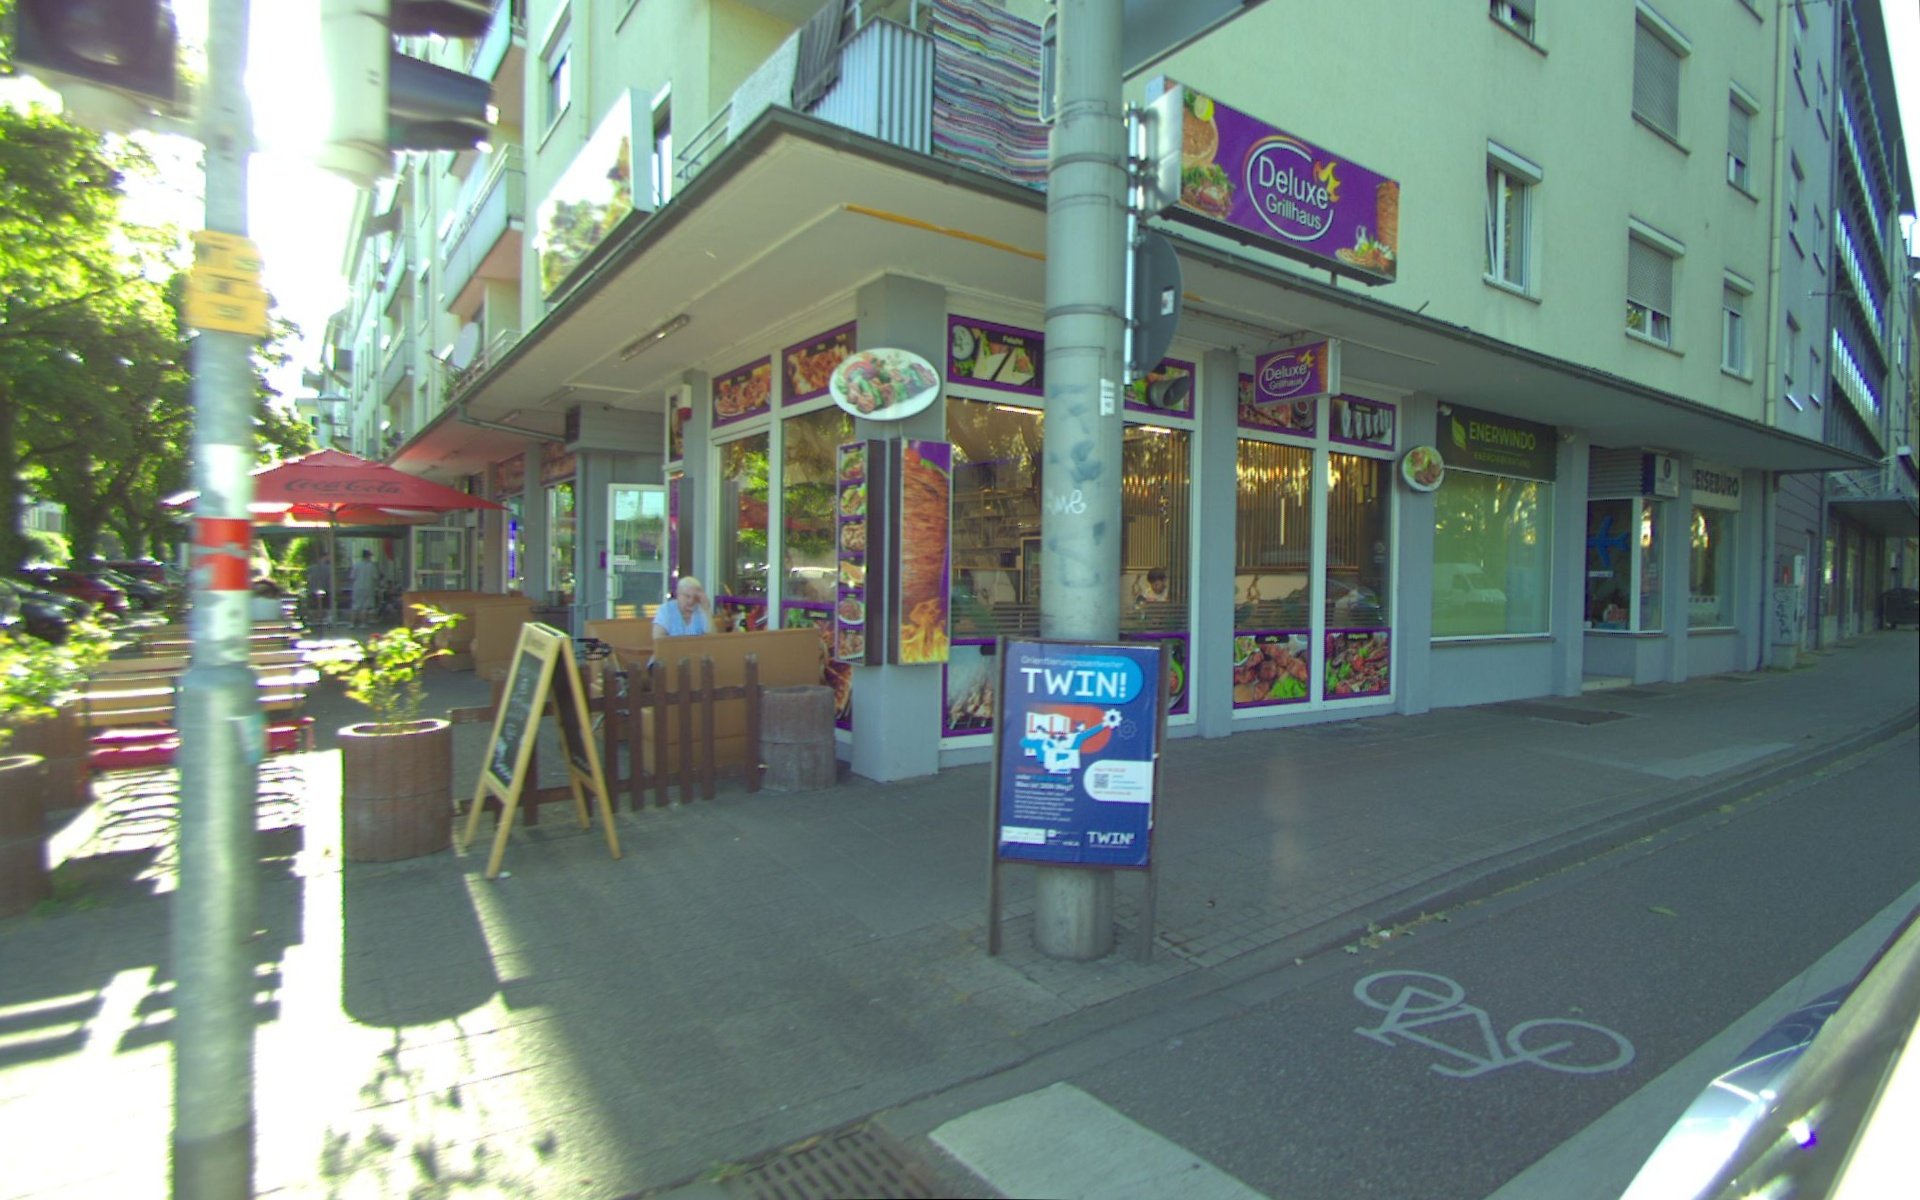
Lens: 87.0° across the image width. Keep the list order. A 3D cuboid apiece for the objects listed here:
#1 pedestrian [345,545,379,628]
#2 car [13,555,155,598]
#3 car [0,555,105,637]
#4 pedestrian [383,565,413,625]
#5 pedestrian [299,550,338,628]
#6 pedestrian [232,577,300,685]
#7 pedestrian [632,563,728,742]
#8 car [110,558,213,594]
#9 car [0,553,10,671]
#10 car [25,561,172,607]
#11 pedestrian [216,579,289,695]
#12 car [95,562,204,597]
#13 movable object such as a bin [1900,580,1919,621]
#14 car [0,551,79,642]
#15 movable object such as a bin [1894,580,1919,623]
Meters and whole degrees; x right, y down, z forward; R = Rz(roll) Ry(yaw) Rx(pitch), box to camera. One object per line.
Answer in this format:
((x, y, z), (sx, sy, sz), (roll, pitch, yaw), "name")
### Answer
((-13.526, -0.306, 22.896), (0.660, 1.834, 0.540), (0, 1, -31), "pedestrian")
((-31.692, -0.838, 36.775), (3.801, 1.498, 1.715), (0, 1, -38), "car")
((-19.928, -0.103, 20.573), (3.801, 1.638, 1.715), (0, 1, -38), "car")
((-13.160, -0.121, 23.708), (0.559, 1.377, 0.675), (0, 1, -23), "pedestrian")
((-14.403, -0.253, 22.737), (0.708, 1.730, 0.540), (0, 1, -31), "pedestrian")
((-8.309, 0.347, 12.108), (0.648, 1.234, 0.740), (0, 1, -36), "pedestrian")
((-2.229, 0.393, 8.052), (0.595, 1.358, 0.494), (0, 1, -35), "pedestrian")
((-37.809, -1.132, 48.016), (3.801, 1.609, 1.715), (0, 1, -38), "car")
((-14.853, 0.174, 12.936), (3.801, 1.638, 1.715), (0, 1, -38), "car")
((-29.806, -0.561, 35.178), (3.801, 1.498, 1.715), (0, 1, -38), "car")
((-7.858, 0.388, 11.244), (0.648, 1.234, 0.740), (0, 1, -36), "pedestrian")
((-36.402, -0.927, 45.553), (3.801, 1.498, 1.715), (0, 1, -38), "car")
((33.909, 0.012, 35.512), (1.348, 1.427, 1.203), (0, 1, -41), "movable object such as a bin")
((-18.594, -0.075, 18.397), (3.801, 1.638, 1.715), (0, 1, -38), "car")
((32.469, 0.056, 34.173), (1.348, 1.427, 1.203), (0, 1, -41), "movable object such as a bin")
